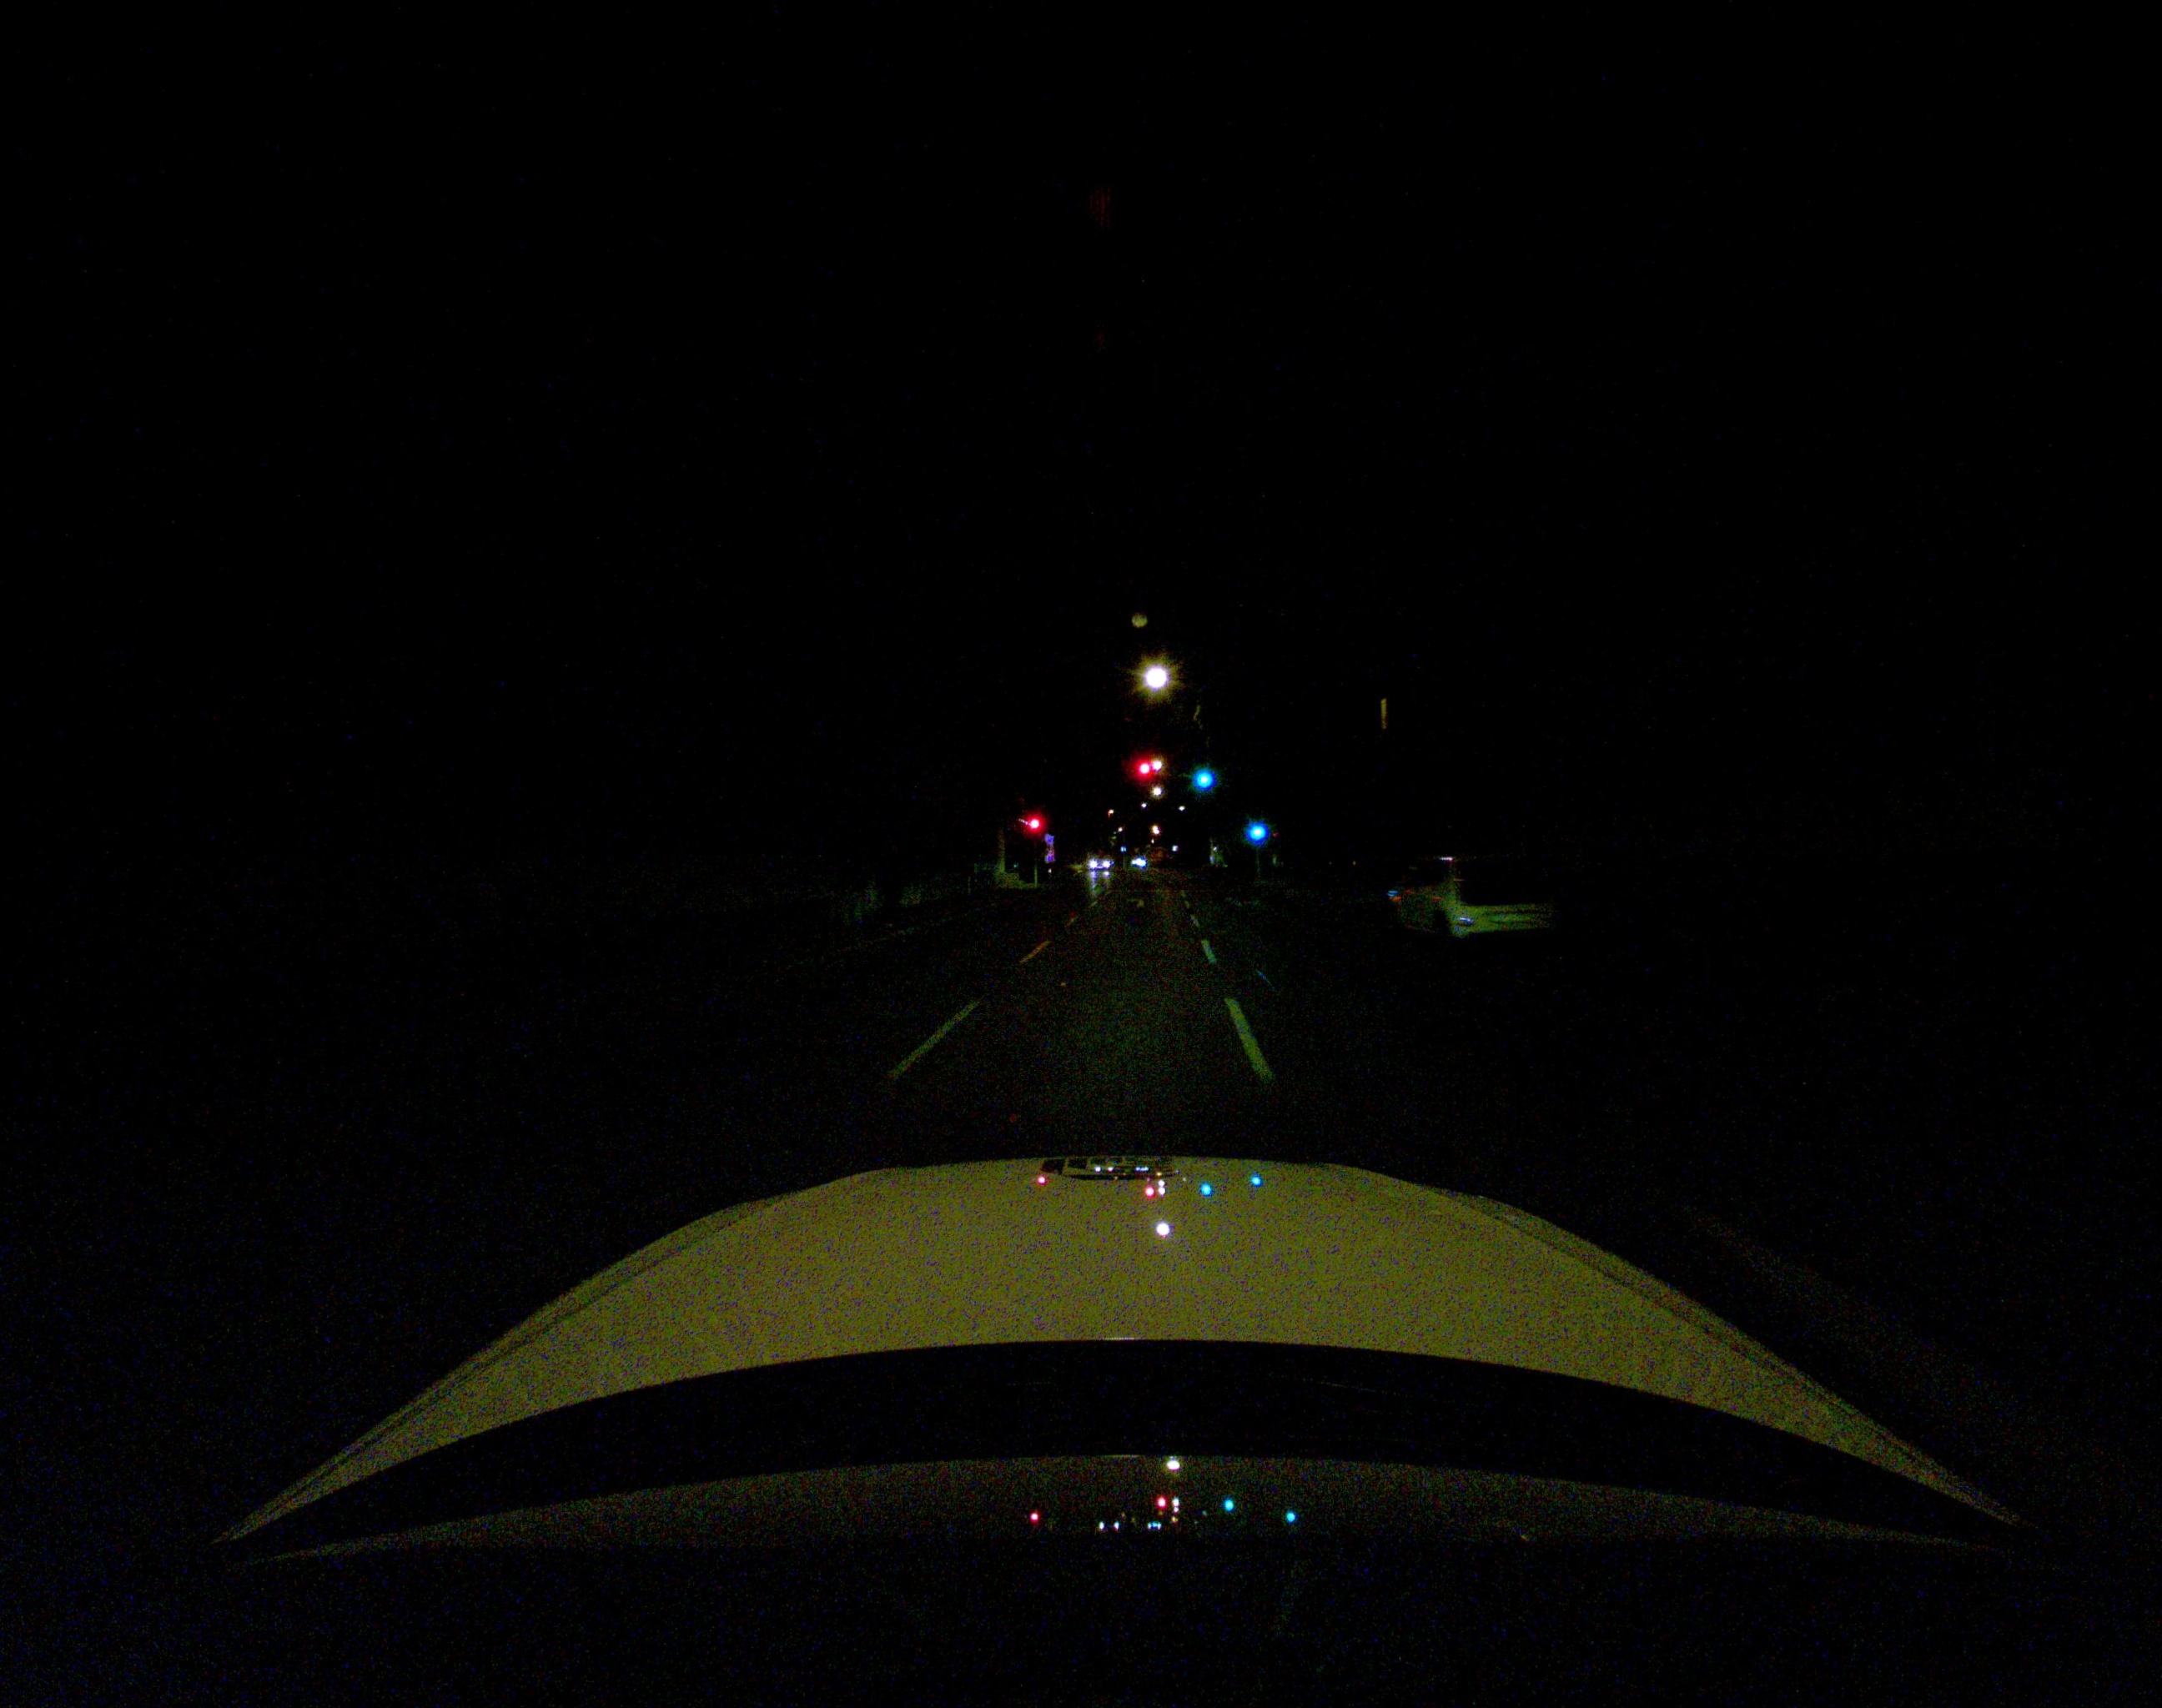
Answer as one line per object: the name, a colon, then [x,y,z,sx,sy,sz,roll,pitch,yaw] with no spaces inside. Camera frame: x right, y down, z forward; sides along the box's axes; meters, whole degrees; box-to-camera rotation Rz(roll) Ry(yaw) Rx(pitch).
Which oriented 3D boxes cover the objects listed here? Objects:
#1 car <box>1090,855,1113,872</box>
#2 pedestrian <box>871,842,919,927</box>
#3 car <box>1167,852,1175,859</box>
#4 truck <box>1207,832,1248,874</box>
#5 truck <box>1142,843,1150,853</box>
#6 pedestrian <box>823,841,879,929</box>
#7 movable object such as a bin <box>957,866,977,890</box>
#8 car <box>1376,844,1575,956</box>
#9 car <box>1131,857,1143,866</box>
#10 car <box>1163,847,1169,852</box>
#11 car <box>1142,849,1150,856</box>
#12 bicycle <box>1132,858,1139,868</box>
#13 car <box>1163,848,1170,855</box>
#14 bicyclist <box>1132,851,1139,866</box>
car: [1.989,0.874,77.515,1.848,1.534,4.034,-1,0,5]
pedestrian: [-3.936,0.628,17.275,0.672,1.745,1.030,-1,-1,4]
car: [19.074,0.243,173.562,1.626,1.451,3.490,-1,0,5]
truck: [11.581,-0.079,64.811,2.735,3.110,6.269,-1,0,6]
truck: [19.208,-1.749,240.149,2.077,2.848,5.837,-1,0,4]
pedestrian: [-4.764,0.629,16.934,0.739,1.745,1.104,-1,-1,4]
movable object such as a bin: [-5.167,1.104,37.040,0.633,1.049,0.658,-2,-1,23]
car: [6.215,0.643,13.285,1.660,1.484,3.608,-3,0,5]
car: [8.831,1.126,128.188,1.907,1.388,4.589,-1,0,5]
car: [23.052,-1.205,221.586,1.626,1.451,3.490,-1,0,5]
car: [15.325,-0.318,191.189,1.807,1.491,4.004,-1,0,4]
bicycle: [6.262,1.067,93.577,0.692,1.149,1.953,-1,-1,5]
car: [19.802,-0.571,189.463,1.626,1.451,3.490,-1,0,5]
bicyclist: [6.239,0.509,93.511,0.687,1.637,0.897,-1,-1,5]
